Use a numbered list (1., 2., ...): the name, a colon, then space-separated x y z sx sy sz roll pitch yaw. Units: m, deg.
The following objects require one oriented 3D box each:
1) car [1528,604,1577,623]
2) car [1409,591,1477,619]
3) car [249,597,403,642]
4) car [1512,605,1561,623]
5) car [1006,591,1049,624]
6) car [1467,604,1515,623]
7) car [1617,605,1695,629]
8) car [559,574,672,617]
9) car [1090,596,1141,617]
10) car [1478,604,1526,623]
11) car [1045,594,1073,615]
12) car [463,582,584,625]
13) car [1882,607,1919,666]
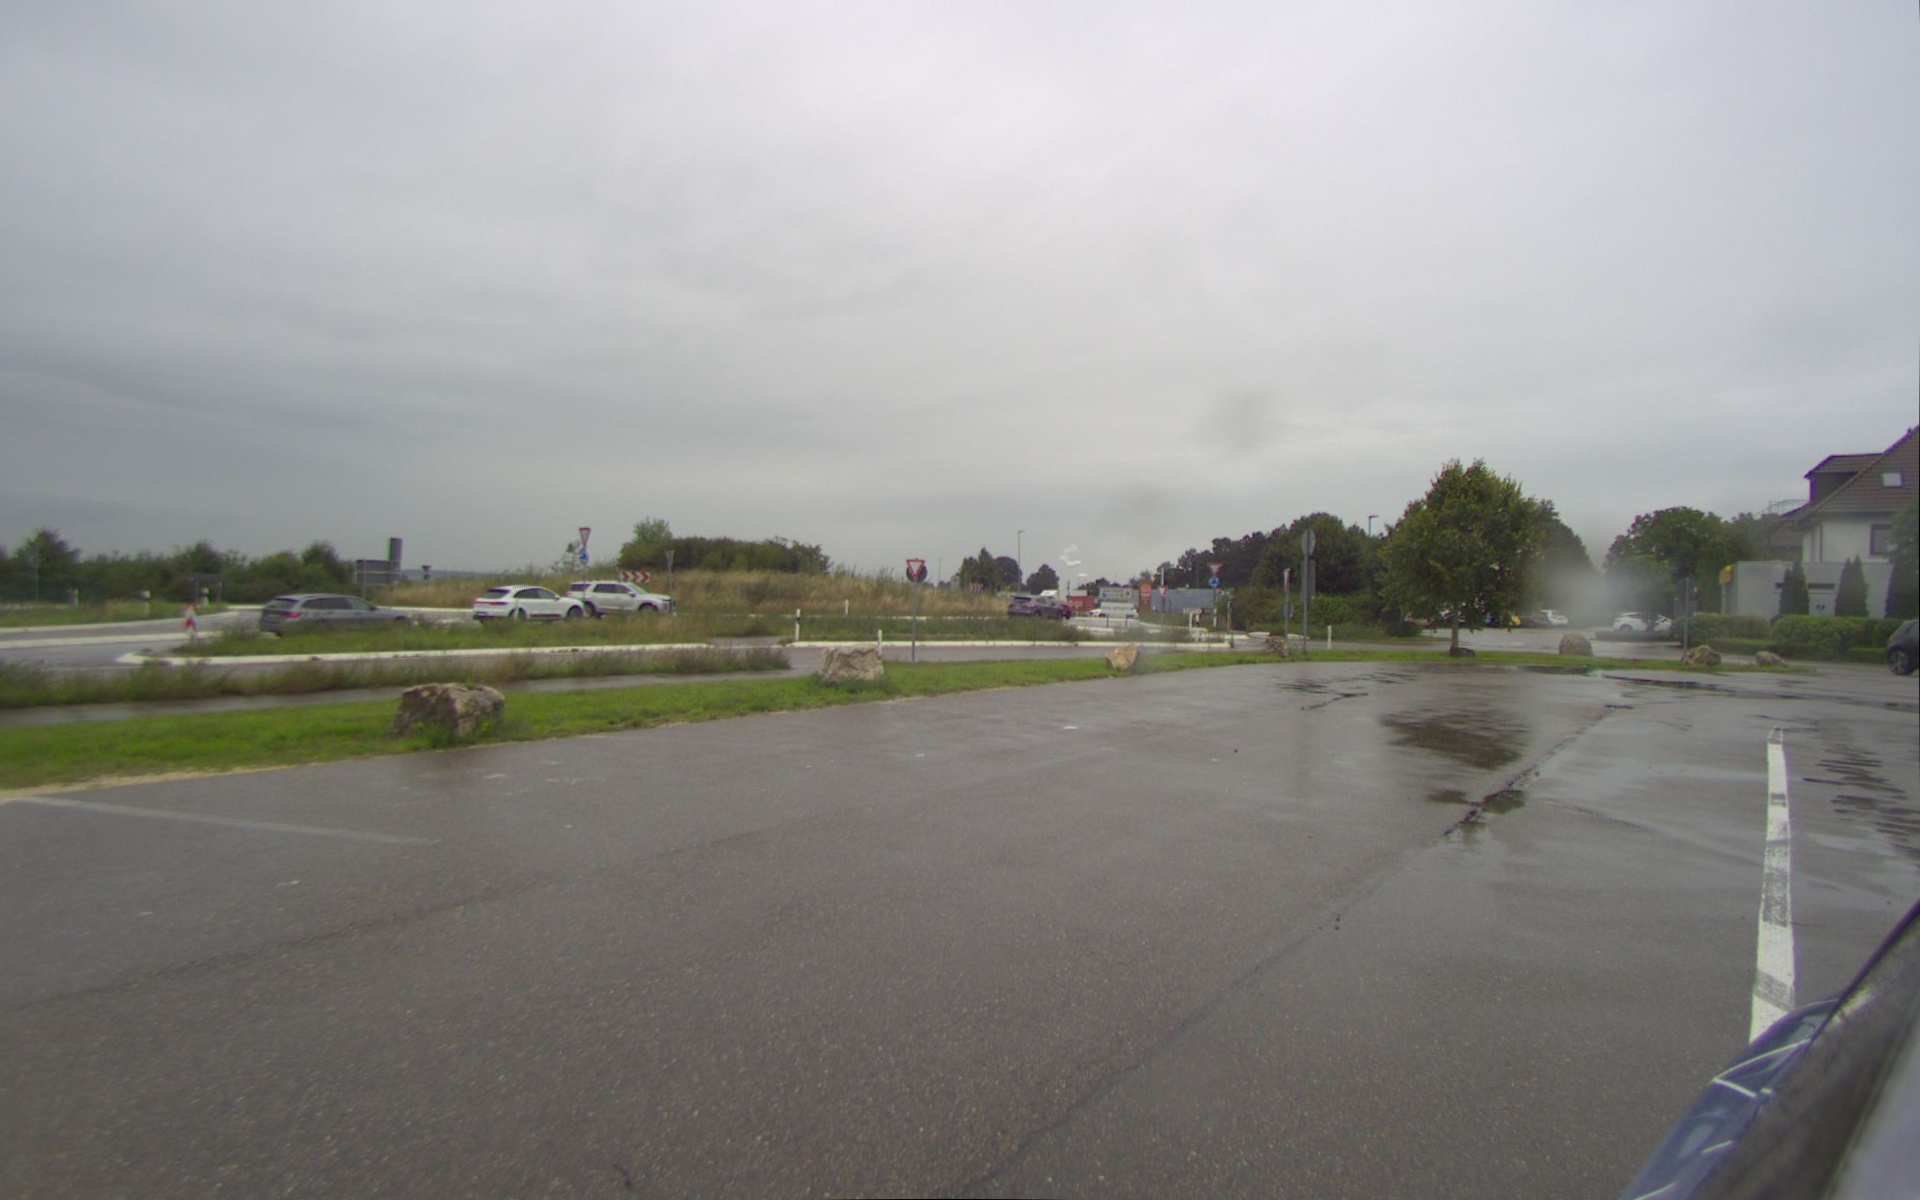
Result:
1. car: 50.091 1.136 85.593 1.553 1.476 3.687 0 0 -11
2. car: 37.196 0.355 78.003 4.507 2.059 1.624 1 0 36
3. car: -20.363 0.591 32.698 1.675 1.342 4.011 0 0 23
4. car: 47.943 1.154 84.211 1.553 1.476 3.687 0 0 -11
5. car: 3.845 0.412 57.525 1.691 1.839 3.695 0 0 16
6. car: 43.444 1.086 82.881 1.524 1.476 3.687 0 0 -11
7. car: 45.459 1.076 66.142 4.162 1.517 1.696 0 0 36
8. car: -15.878 -0.196 46.836 4.554 1.897 2.001 0 0 -2
9. car: 14.019 0.590 91.029 4.275 1.781 1.752 1 -1 -24
10. car: 44.990 1.103 84.043 1.553 1.476 3.687 0 0 -11
11. car: 7.606 0.354 78.085 1.486 1.535 3.410 0 0 -5
12. car: -17.382 0.133 40.498 1.679 1.604 4.341 0 0 29
13. car: 24.888 0.934 24.350 1.747 1.451 4.076 1 0 2
